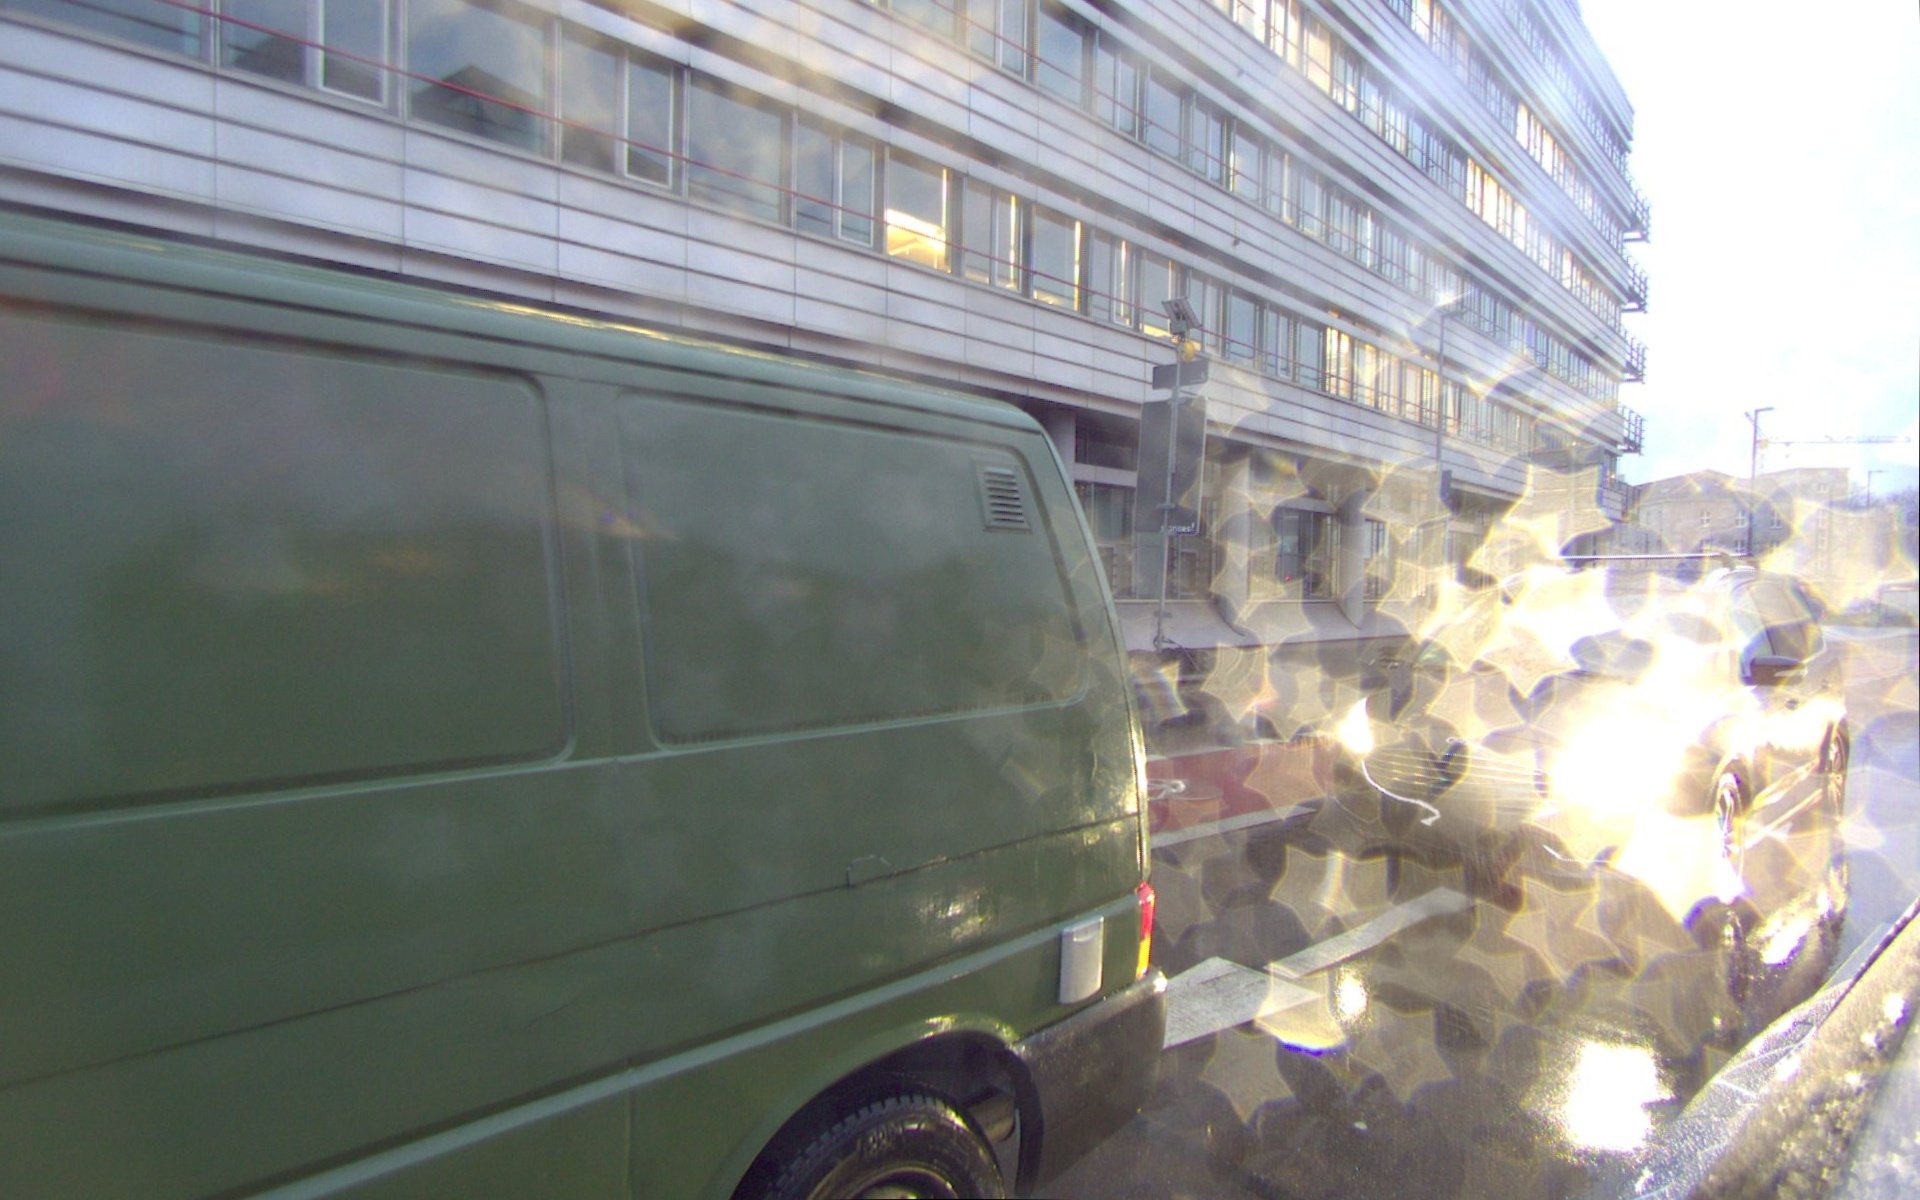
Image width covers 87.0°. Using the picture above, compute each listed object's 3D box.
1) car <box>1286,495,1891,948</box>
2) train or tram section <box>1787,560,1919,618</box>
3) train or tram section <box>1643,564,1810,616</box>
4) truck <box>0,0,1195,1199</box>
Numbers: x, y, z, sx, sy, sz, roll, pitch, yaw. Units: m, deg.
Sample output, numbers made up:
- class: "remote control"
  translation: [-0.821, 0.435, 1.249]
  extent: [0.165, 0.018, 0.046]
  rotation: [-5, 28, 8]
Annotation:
- class: "car"
  translation: [4.164, 0.485, 6.347]
  extent: [4.606, 1.842, 1.908]
  rotation: [0, 0, -40]
- class: "train or tram section"
  translation: [82.789, -0.961, 90.385]
  extent: [3.663, 4.995, 13.404]
  rotation: [0, 0, -27]
- class: "train or tram section"
  translation: [77.212, -1.006, 102.508]
  extent: [3.661, 4.862, 13.410]
  rotation: [0, 0, -24]
- class: "truck"
  translation: [-1.835, 0.396, 1.311]
  extent: [4.536, 1.941, 1.907]
  rotation: [0, 0, -41]
